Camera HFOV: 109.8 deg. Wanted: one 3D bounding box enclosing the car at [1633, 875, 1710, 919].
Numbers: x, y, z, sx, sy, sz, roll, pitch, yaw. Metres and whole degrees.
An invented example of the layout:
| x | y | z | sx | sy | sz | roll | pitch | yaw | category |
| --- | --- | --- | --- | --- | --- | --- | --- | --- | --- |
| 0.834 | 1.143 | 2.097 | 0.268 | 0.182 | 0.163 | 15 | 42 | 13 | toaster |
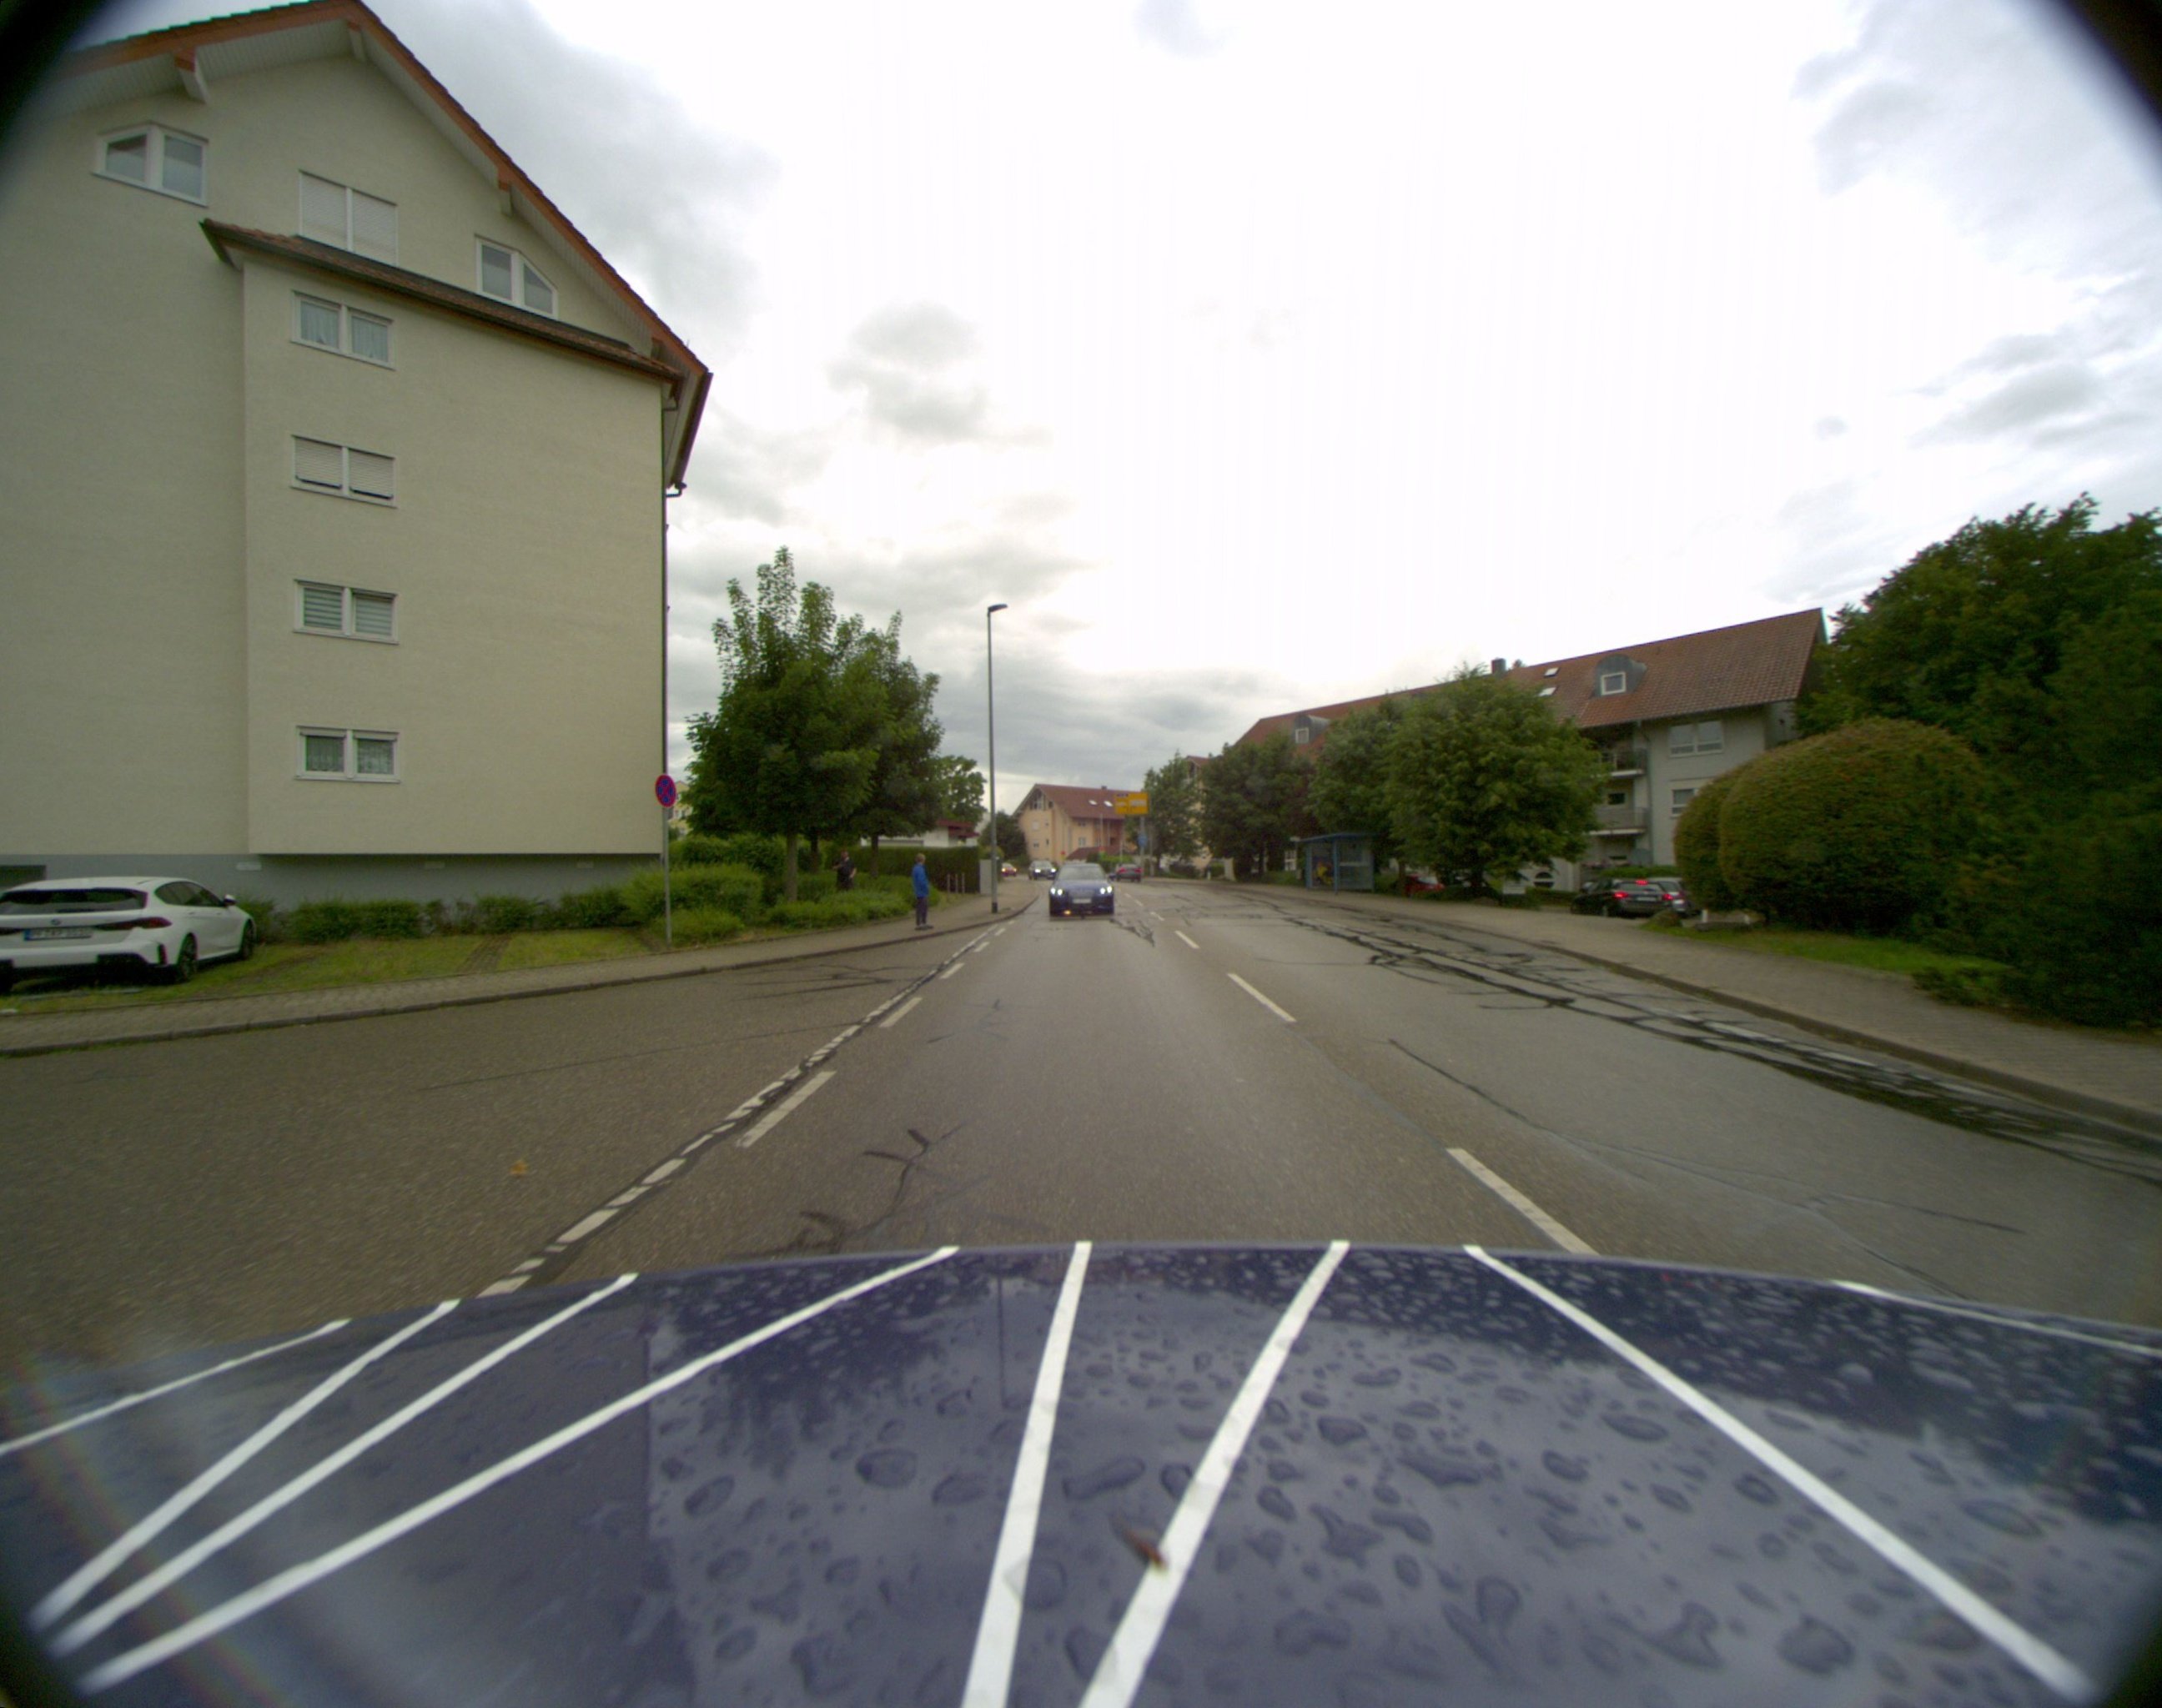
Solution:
| x | y | z | sx | sy | sz | roll | pitch | yaw | category |
| --- | --- | --- | --- | --- | --- | --- | --- | --- | --- |
| 22.662 | 1.584 | 29.105 | 3.723 | 1.424 | 1.666 | -2 | 1 | -42 | car |

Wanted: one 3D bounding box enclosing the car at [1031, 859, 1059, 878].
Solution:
| x | y | z | sx | sy | sz | roll | pitch | yaw | category |
| --- | --- | --- | --- | --- | --- | --- | --- | --- | --- |
| -3.148 | 1.237 | 65.651 | 1.842 | 1.541 | 3.996 | -1 | 0 | -11 | car |

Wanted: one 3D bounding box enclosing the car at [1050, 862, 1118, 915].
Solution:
| x | y | z | sx | sy | sz | roll | pitch | yaw | category |
| --- | --- | --- | --- | --- | --- | --- | --- | --- | --- |
| 0.060 | 1.026 | 24.180 | 1.913 | 1.425 | 4.300 | -2 | 0 | -1 | car |

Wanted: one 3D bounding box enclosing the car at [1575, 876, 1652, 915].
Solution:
| x | y | z | sx | sy | sz | roll | pitch | yaw | category |
| --- | --- | --- | --- | --- | --- | --- | --- | --- | --- |
| 22.259 | 1.709 | 31.720 | 3.438 | 1.386 | 1.666 | -2 | 1 | -37 | car |

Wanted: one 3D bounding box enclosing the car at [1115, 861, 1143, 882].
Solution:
| x | y | z | sx | sy | sz | roll | pitch | yaw | category |
| --- | --- | --- | --- | --- | --- | --- | --- | --- | --- |
| 3.473 | 1.241 | 55.803 | 1.678 | 1.434 | 3.999 | -1 | 0 | -2 | car |

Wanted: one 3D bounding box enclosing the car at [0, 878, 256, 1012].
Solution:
| x | y | z | sx | sy | sz | roll | pitch | yaw | category |
| --- | --- | --- | --- | --- | --- | --- | --- | --- | --- |
| -13.334 | 1.115 | 10.612 | 1.750 | 1.472 | 3.759 | 0 | 0 | -36 | car |

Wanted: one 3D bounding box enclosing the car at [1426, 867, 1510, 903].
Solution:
| x | y | z | sx | sy | sz | roll | pitch | yaw | category |
| --- | --- | --- | --- | --- | --- | --- | --- | --- | --- |
| 17.947 | 1.411 | 35.461 | 1.615 | 1.455 | 3.998 | -1 | 0 | -5 | car |

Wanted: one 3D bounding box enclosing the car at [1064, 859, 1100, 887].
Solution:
| x | y | z | sx | sy | sz | roll | pitch | yaw | category |
| --- | --- | --- | --- | --- | --- | --- | --- | --- | --- |
| 0.016 | 1.035 | 42.365 | 1.841 | 1.440 | 3.999 | -1 | 0 | -1 | car |

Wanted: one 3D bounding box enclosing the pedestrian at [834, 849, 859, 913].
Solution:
| x | y | z | sx | sy | sz | roll | pitch | yaw | category |
| --- | --- | --- | --- | --- | --- | --- | --- | --- | --- |
| -6.664 | 0.759 | 21.544 | 0.616 | 1.762 | 0.670 | -2 | 1 | -18 | pedestrian |

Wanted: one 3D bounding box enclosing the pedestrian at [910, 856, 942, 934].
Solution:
| x | y | z | sx | sy | sz | roll | pitch | yaw | category |
| --- | --- | --- | --- | --- | --- | --- | --- | --- | --- |
| -3.441 | 0.893 | 16.818 | 0.591 | 1.656 | 0.774 | -2 | 1 | -16 | pedestrian |

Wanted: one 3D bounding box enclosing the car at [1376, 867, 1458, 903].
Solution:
| x | y | z | sx | sy | sz | roll | pitch | yaw | category |
| --- | --- | --- | --- | --- | --- | --- | --- | --- | --- |
| 15.538 | 1.374 | 35.346 | 1.774 | 1.455 | 3.998 | -1 | 0 | -5 | car |

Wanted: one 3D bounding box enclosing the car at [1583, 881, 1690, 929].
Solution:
| x | y | z | sx | sy | sz | roll | pitch | yaw | category |
| --- | --- | --- | --- | --- | --- | --- | --- | --- | --- |
| 18.425 | 1.773 | 25.444 | 1.995 | 1.411 | 4.177 | -2 | -6 | 24 | car |

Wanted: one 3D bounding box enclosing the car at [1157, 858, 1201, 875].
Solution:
| x | y | z | sx | sy | sz | roll | pitch | yaw | category |
| --- | --- | --- | --- | --- | --- | --- | --- | --- | --- |
| 9.254 | 1.158 | 72.065 | 1.741 | 1.592 | 3.989 | 0 | 0 | -40 | car |
